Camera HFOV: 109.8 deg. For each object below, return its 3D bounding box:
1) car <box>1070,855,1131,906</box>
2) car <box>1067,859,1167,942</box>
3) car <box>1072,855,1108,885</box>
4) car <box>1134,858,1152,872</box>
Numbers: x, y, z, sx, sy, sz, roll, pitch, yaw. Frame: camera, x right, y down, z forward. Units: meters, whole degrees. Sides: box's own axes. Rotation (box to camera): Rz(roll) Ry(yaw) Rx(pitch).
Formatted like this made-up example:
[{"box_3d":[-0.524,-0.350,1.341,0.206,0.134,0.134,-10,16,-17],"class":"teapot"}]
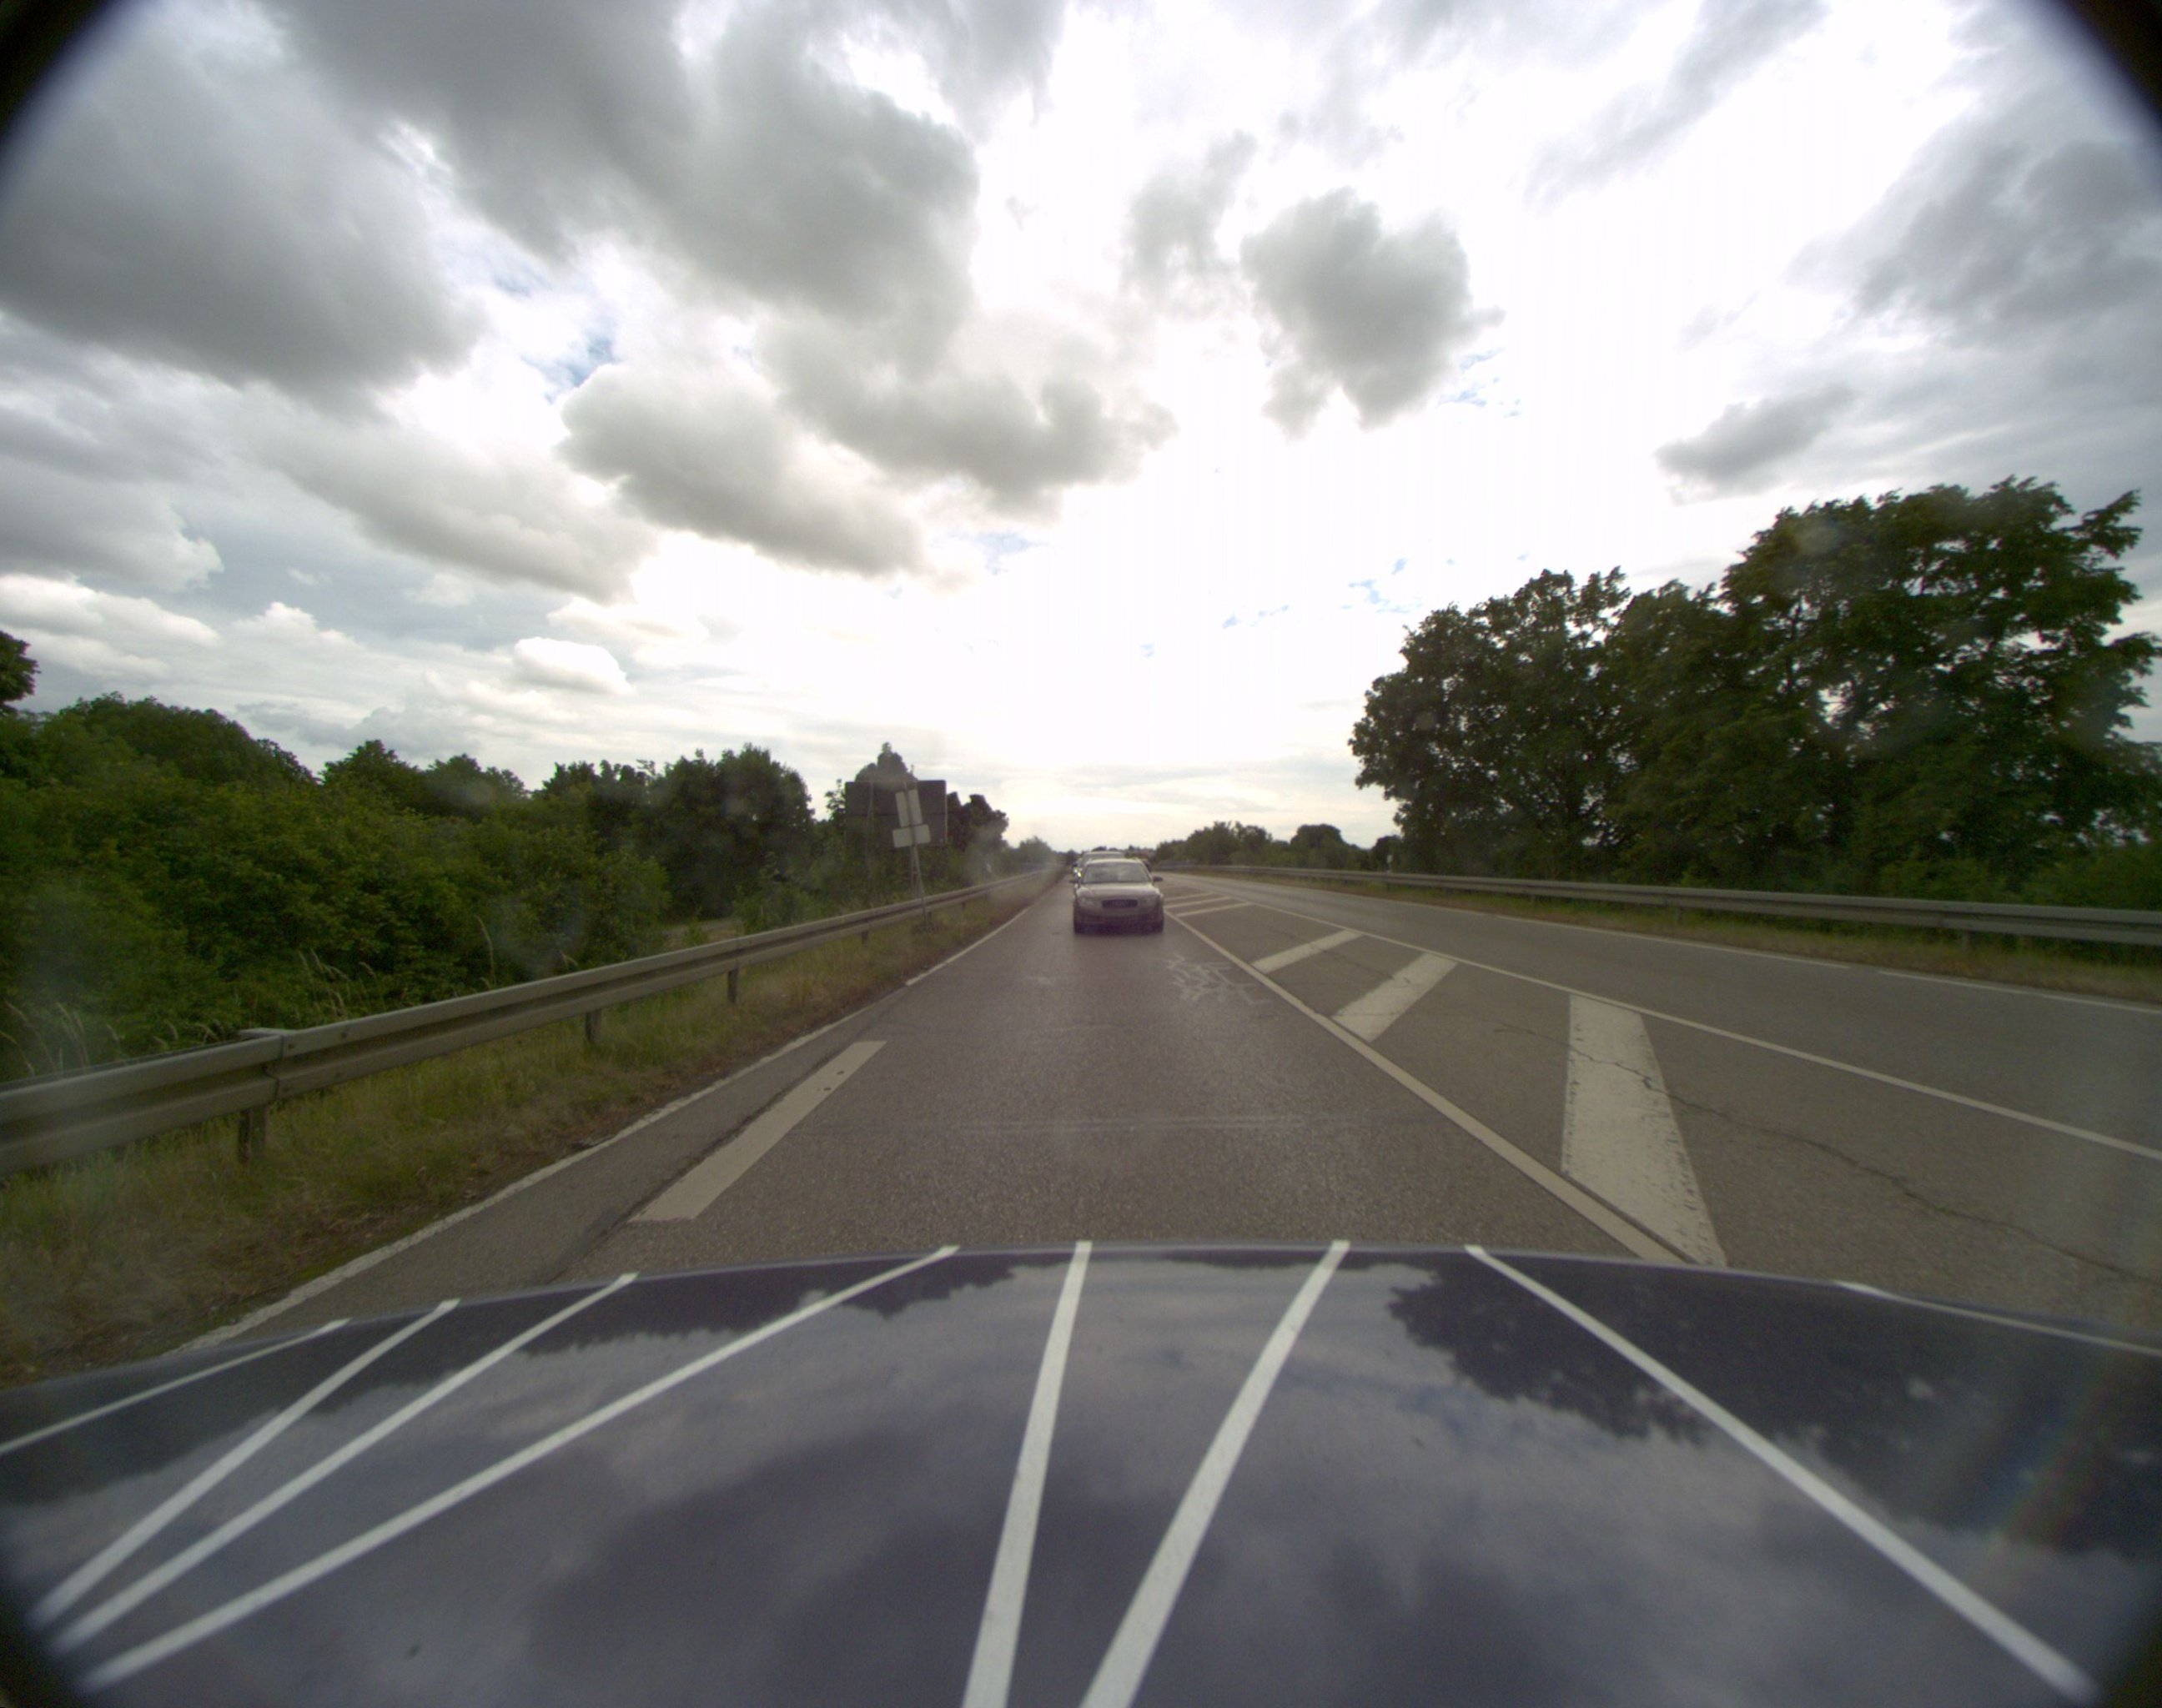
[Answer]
[{"box_3d":[0.633,0.811,25.527,1.834,1.538,4.034,-1,0,1],"class":"car"},{"box_3d":[0.681,0.861,15.864,1.784,1.442,4.034,-1,0,1],"class":"car"},{"box_3d":[0.490,0.832,41.403,1.834,1.538,4.034,-1,0,1],"class":"car"},{"box_3d":[7.019,1.252,86.275,1.834,1.538,4.034,-1,0,1],"class":"car"}]
